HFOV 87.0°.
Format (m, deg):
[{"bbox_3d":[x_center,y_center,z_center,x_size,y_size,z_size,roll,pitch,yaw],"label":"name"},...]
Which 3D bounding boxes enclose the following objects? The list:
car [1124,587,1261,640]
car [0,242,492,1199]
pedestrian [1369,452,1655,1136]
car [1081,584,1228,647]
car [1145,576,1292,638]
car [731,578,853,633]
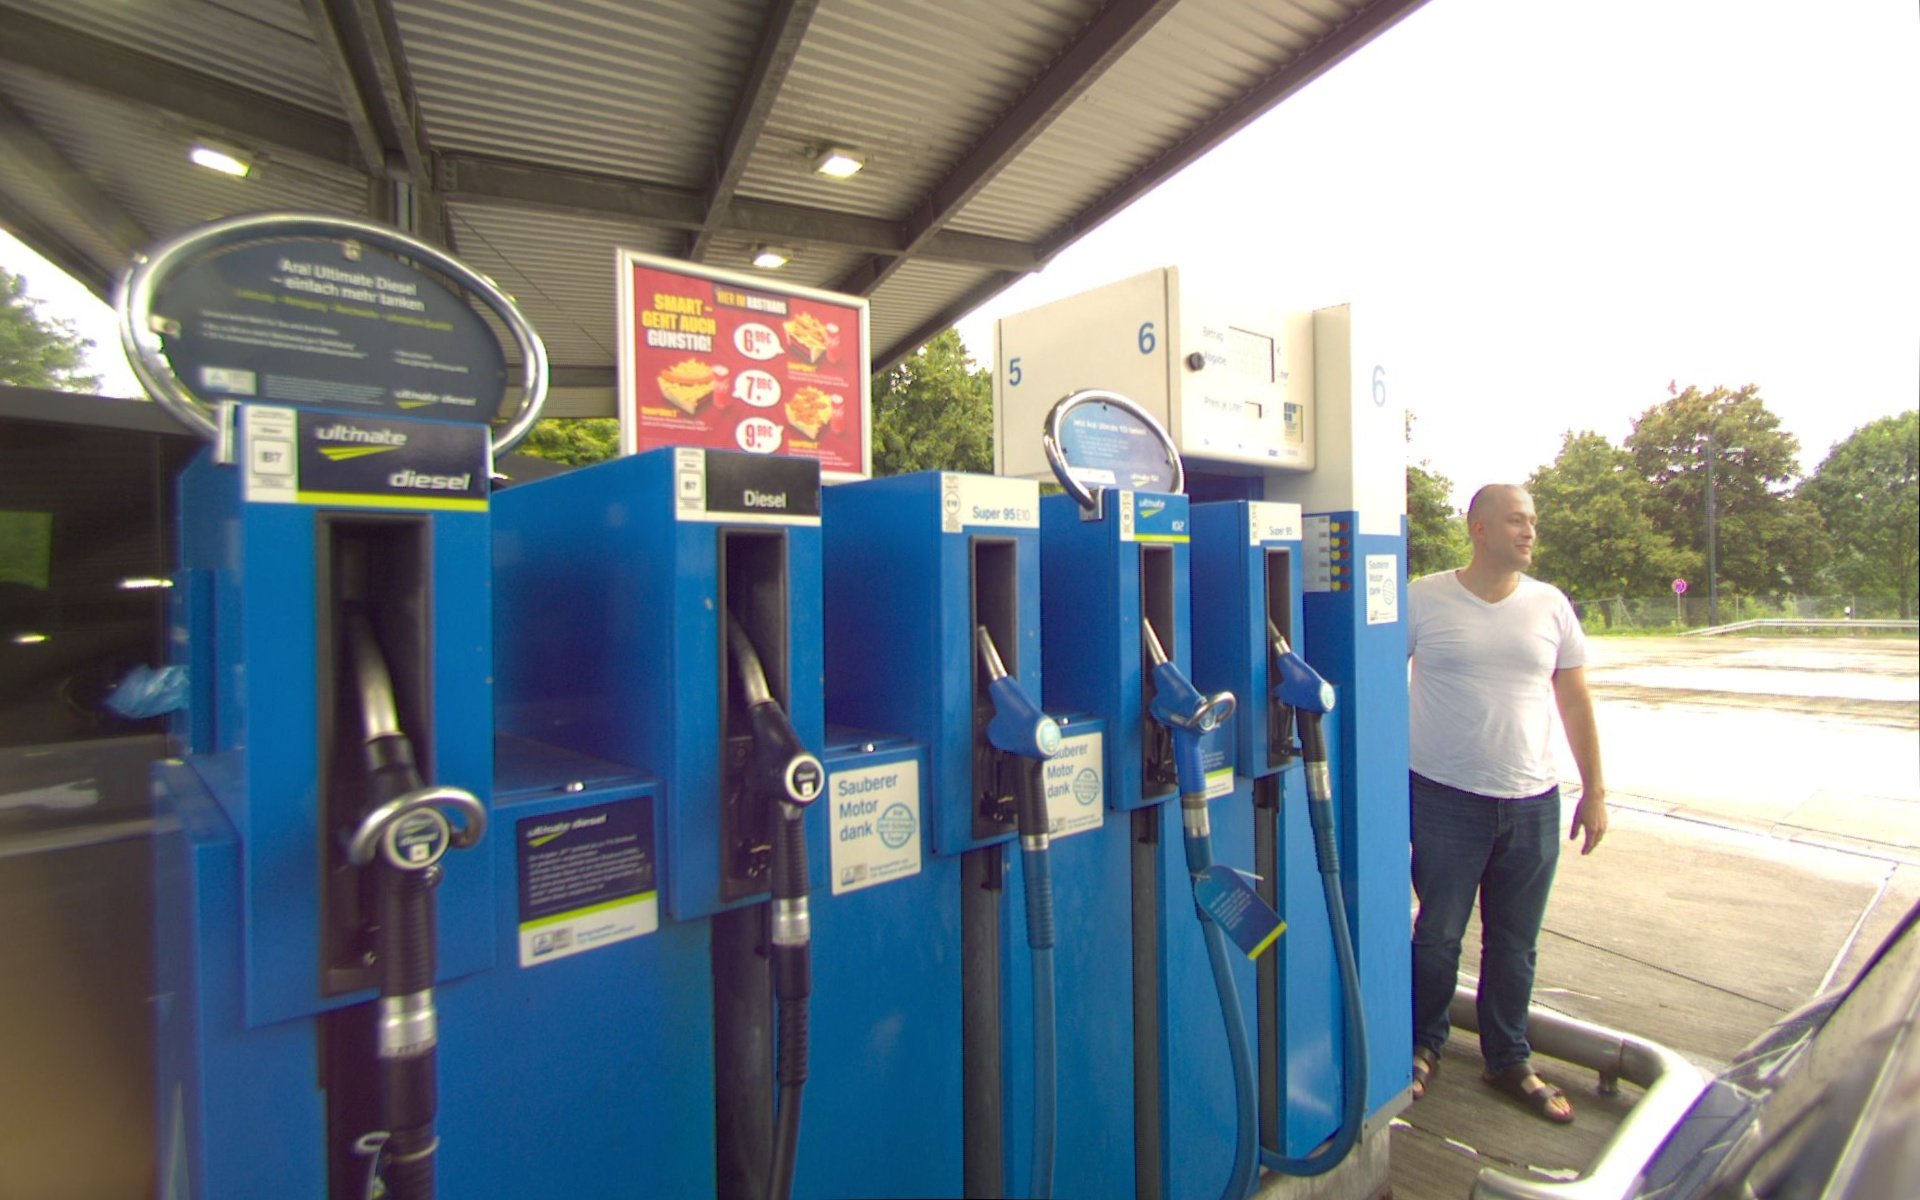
[{"bbox_3d":[7.385,0.402,32.147,4.123,1.576,1.990,1,0,17],"label":"car"},{"bbox_3d":[-3.034,0.412,1.477,3.930,1.973,1.819,0,0,-41],"label":"car"},{"bbox_3d":[1.608,0.519,3.027,0.625,1.832,0.492,-1,1,15],"label":"pedestrian"},{"bbox_3d":[5.791,0.418,29.993,4.123,1.752,1.990,1,0,17],"label":"car"},{"bbox_3d":[8.712,0.206,34.367,4.700,2.011,2.007,0,0,14],"label":"car"},{"bbox_3d":[-5.612,0.146,33.514,1.967,1.683,4.170,0,0,-44],"label":"car"}]
